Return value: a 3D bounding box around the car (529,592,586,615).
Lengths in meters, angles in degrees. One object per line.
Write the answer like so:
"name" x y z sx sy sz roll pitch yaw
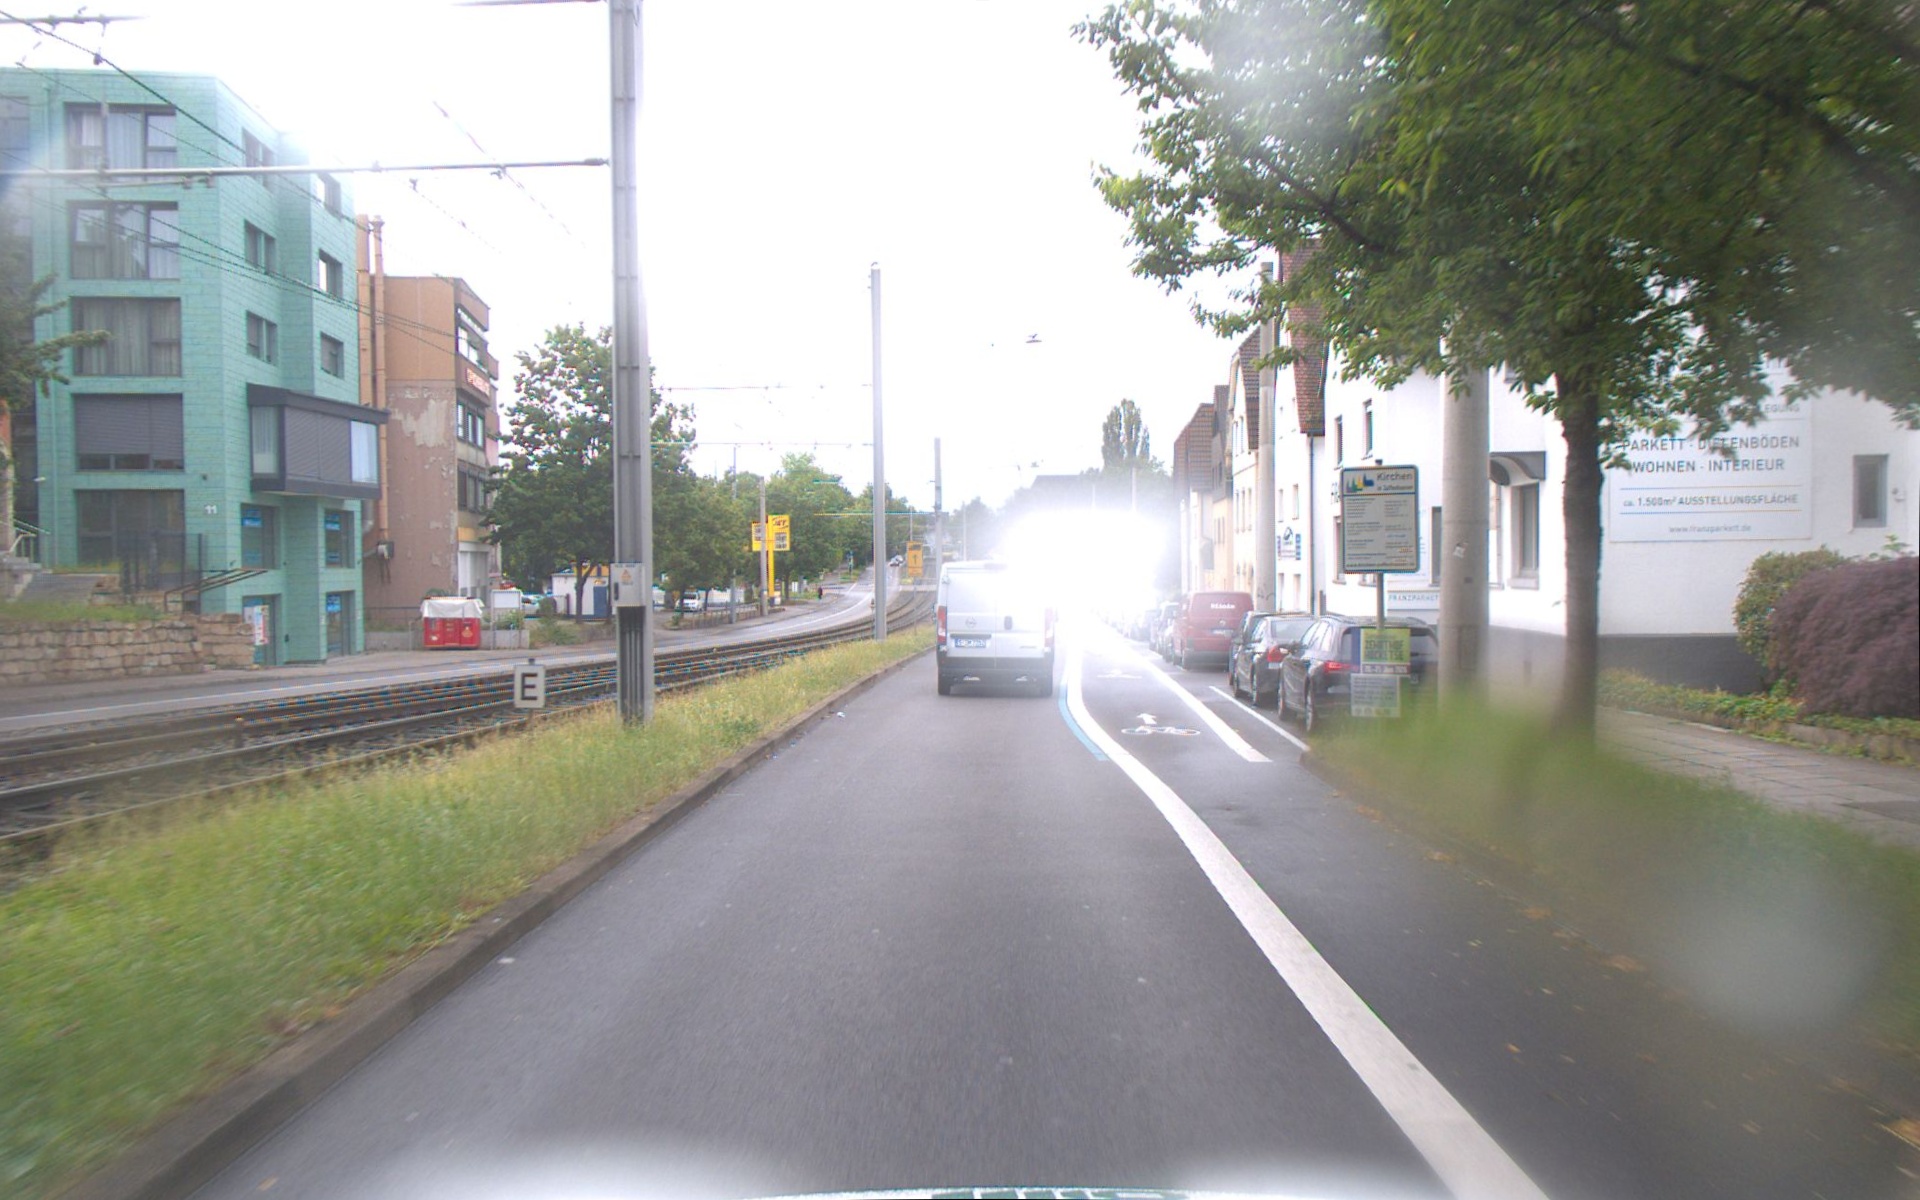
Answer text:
"car" -28.791 0.267 118.275 3.714 1.505 1.564 2 -1 -24

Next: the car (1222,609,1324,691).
"car" 6.030 0.957 32.140 1.544 1.477 3.721 -1 -1 5

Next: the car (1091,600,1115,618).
"car" 12.202 0.745 141.489 1.809 1.526 3.955 1 0 1

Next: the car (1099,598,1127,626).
"car" 10.896 0.828 117.895 1.711 1.839 3.955 1 1 1

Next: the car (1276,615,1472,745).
"car" 5.145 0.923 21.091 1.641 1.448 4.567 1 0 4

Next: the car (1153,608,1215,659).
"car" 7.306 1.065 54.310 1.600 1.565 4.136 2 0 2

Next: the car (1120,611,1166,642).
"car" 9.328 1.324 84.525 1.752 1.430 4.552 1 0 -1

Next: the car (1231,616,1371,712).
"car" 5.521 0.992 27.256 1.676 1.437 4.567 0 0 4

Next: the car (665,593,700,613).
"car" -21.394 0.230 127.714 1.953 1.467 4.000 1 0 0

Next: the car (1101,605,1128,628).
"car" 10.466 1.100 112.288 1.612 1.471 3.955 1 1 2

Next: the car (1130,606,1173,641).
"car" 8.996 1.084 78.014 1.533 1.524 3.512 2 0 -1

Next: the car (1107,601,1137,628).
"car" 10.436 0.917 106.891 1.612 1.643 4.106 1 1 2

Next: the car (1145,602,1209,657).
"car" 7.698 1.029 59.055 1.801 1.832 4.687 2 0 2

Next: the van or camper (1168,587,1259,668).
"van or camper" 6.518 0.691 42.994 1.812 1.954 4.996 -1 0 3

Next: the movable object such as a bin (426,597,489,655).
"movable object such as a bin" -20.319 1.043 66.923 2.093 2.194 1.800 2 1 -6

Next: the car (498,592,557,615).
"car" -29.860 0.216 114.203 3.714 1.479 1.541 2 -1 -24

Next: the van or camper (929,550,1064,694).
"van or camper" 0.561 0.372 29.389 2.154 2.292 4.683 1 0 -1

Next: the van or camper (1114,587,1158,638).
"van or camper" 9.643 0.645 91.077 1.952 2.608 6.045 1 1 2
